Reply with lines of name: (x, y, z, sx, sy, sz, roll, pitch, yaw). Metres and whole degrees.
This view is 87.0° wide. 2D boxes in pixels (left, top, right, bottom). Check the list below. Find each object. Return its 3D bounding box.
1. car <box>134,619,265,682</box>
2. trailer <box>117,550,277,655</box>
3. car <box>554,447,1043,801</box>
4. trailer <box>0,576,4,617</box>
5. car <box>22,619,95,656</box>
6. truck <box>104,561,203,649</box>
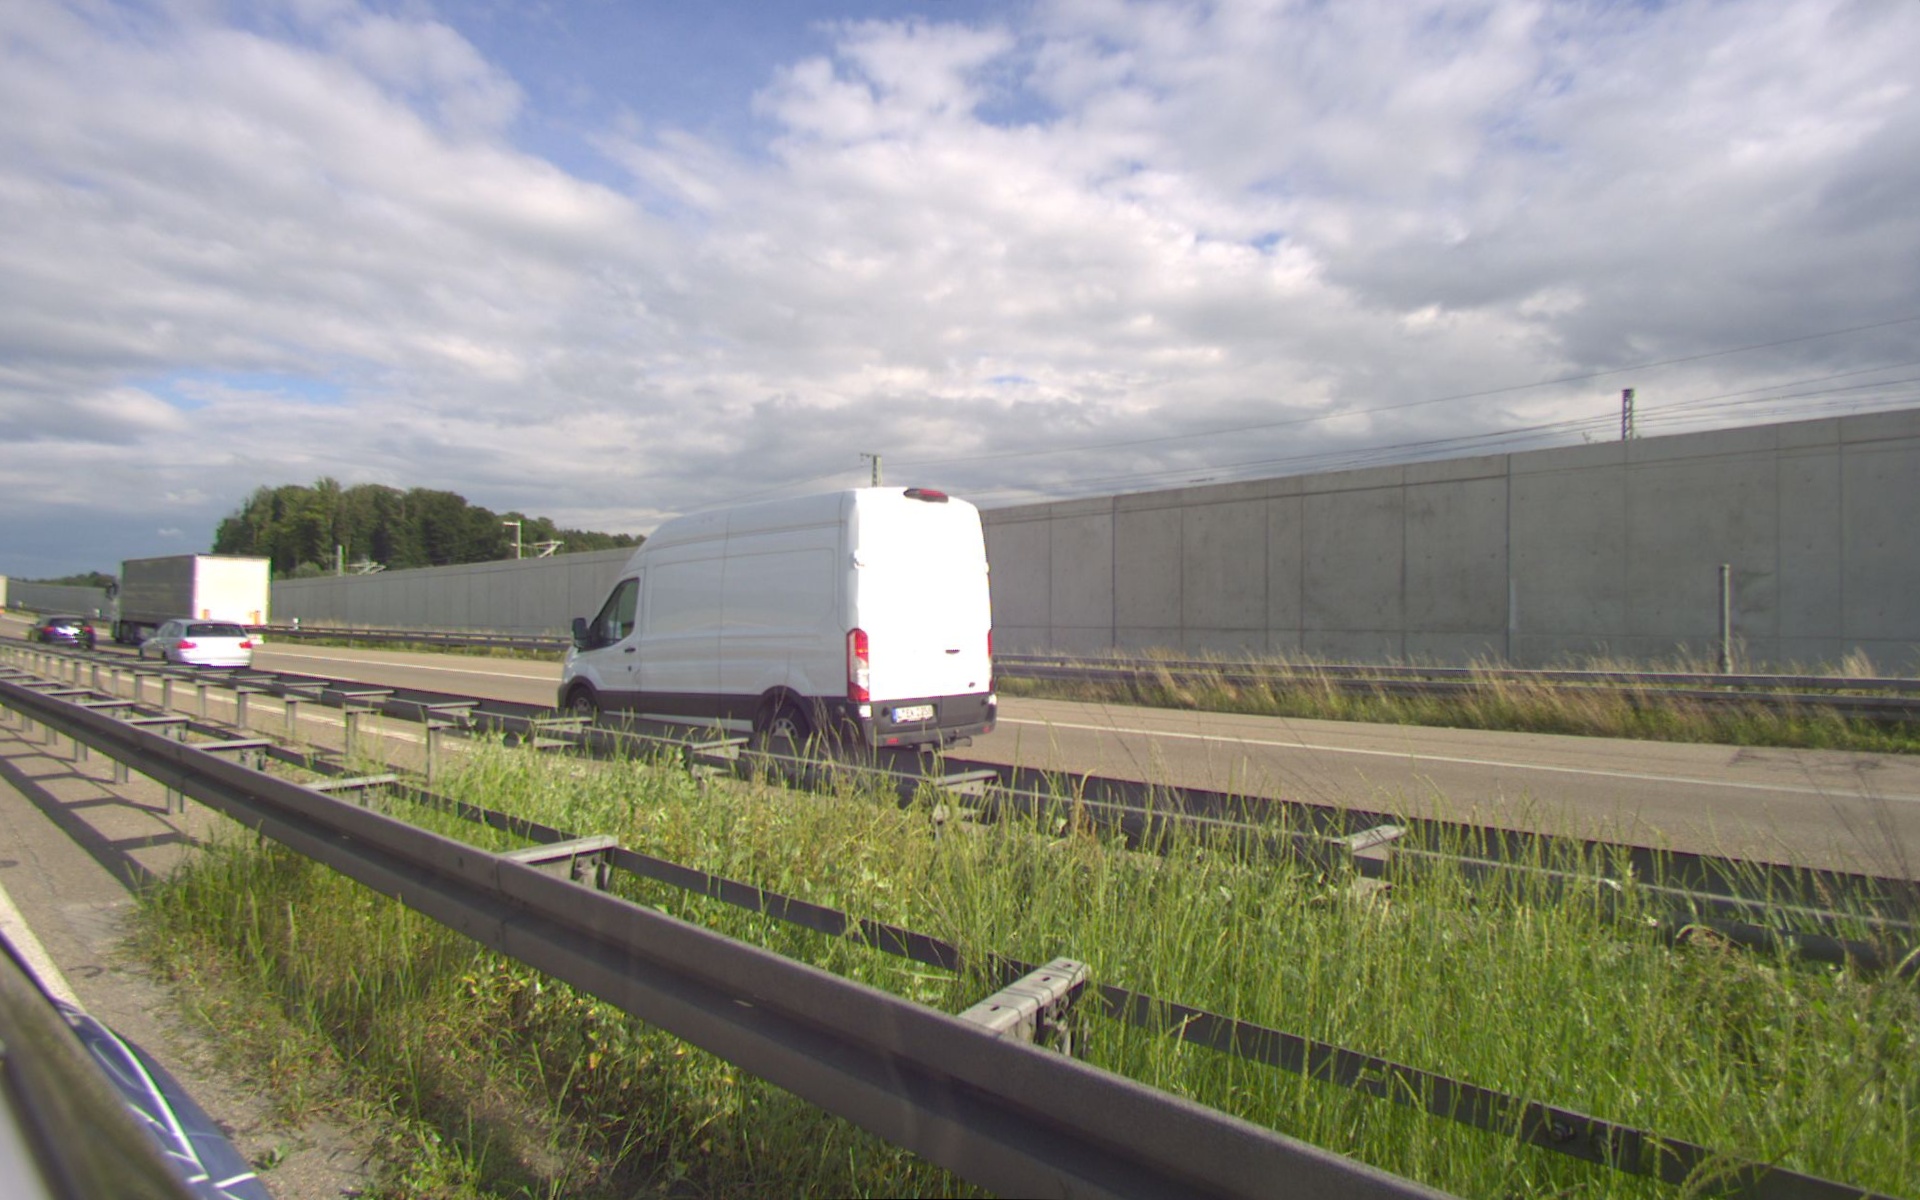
car: (-19.431, 1.225, 25.805, 4.230, 1.462, 1.854, -1, -1, 41)
trailer: (-34.263, 0.238, 45.106, 13.511, 4.108, 2.761, -1, -3, 41)
car: (-1.995, 0.243, 10.916, 5.633, 2.892, 2.082, -1, -1, 41)
trailer: (-100.634, -0.293, 103.564, 13.783, 4.069, 2.656, -1, -2, 41)
car: (-36.953, 1.509, 41.463, 3.952, 1.462, 1.635, -1, -1, 39)
truck: (-39.823, 0.312, 49.931, 5.528, 4.119, 2.747, -1, -3, 41)
